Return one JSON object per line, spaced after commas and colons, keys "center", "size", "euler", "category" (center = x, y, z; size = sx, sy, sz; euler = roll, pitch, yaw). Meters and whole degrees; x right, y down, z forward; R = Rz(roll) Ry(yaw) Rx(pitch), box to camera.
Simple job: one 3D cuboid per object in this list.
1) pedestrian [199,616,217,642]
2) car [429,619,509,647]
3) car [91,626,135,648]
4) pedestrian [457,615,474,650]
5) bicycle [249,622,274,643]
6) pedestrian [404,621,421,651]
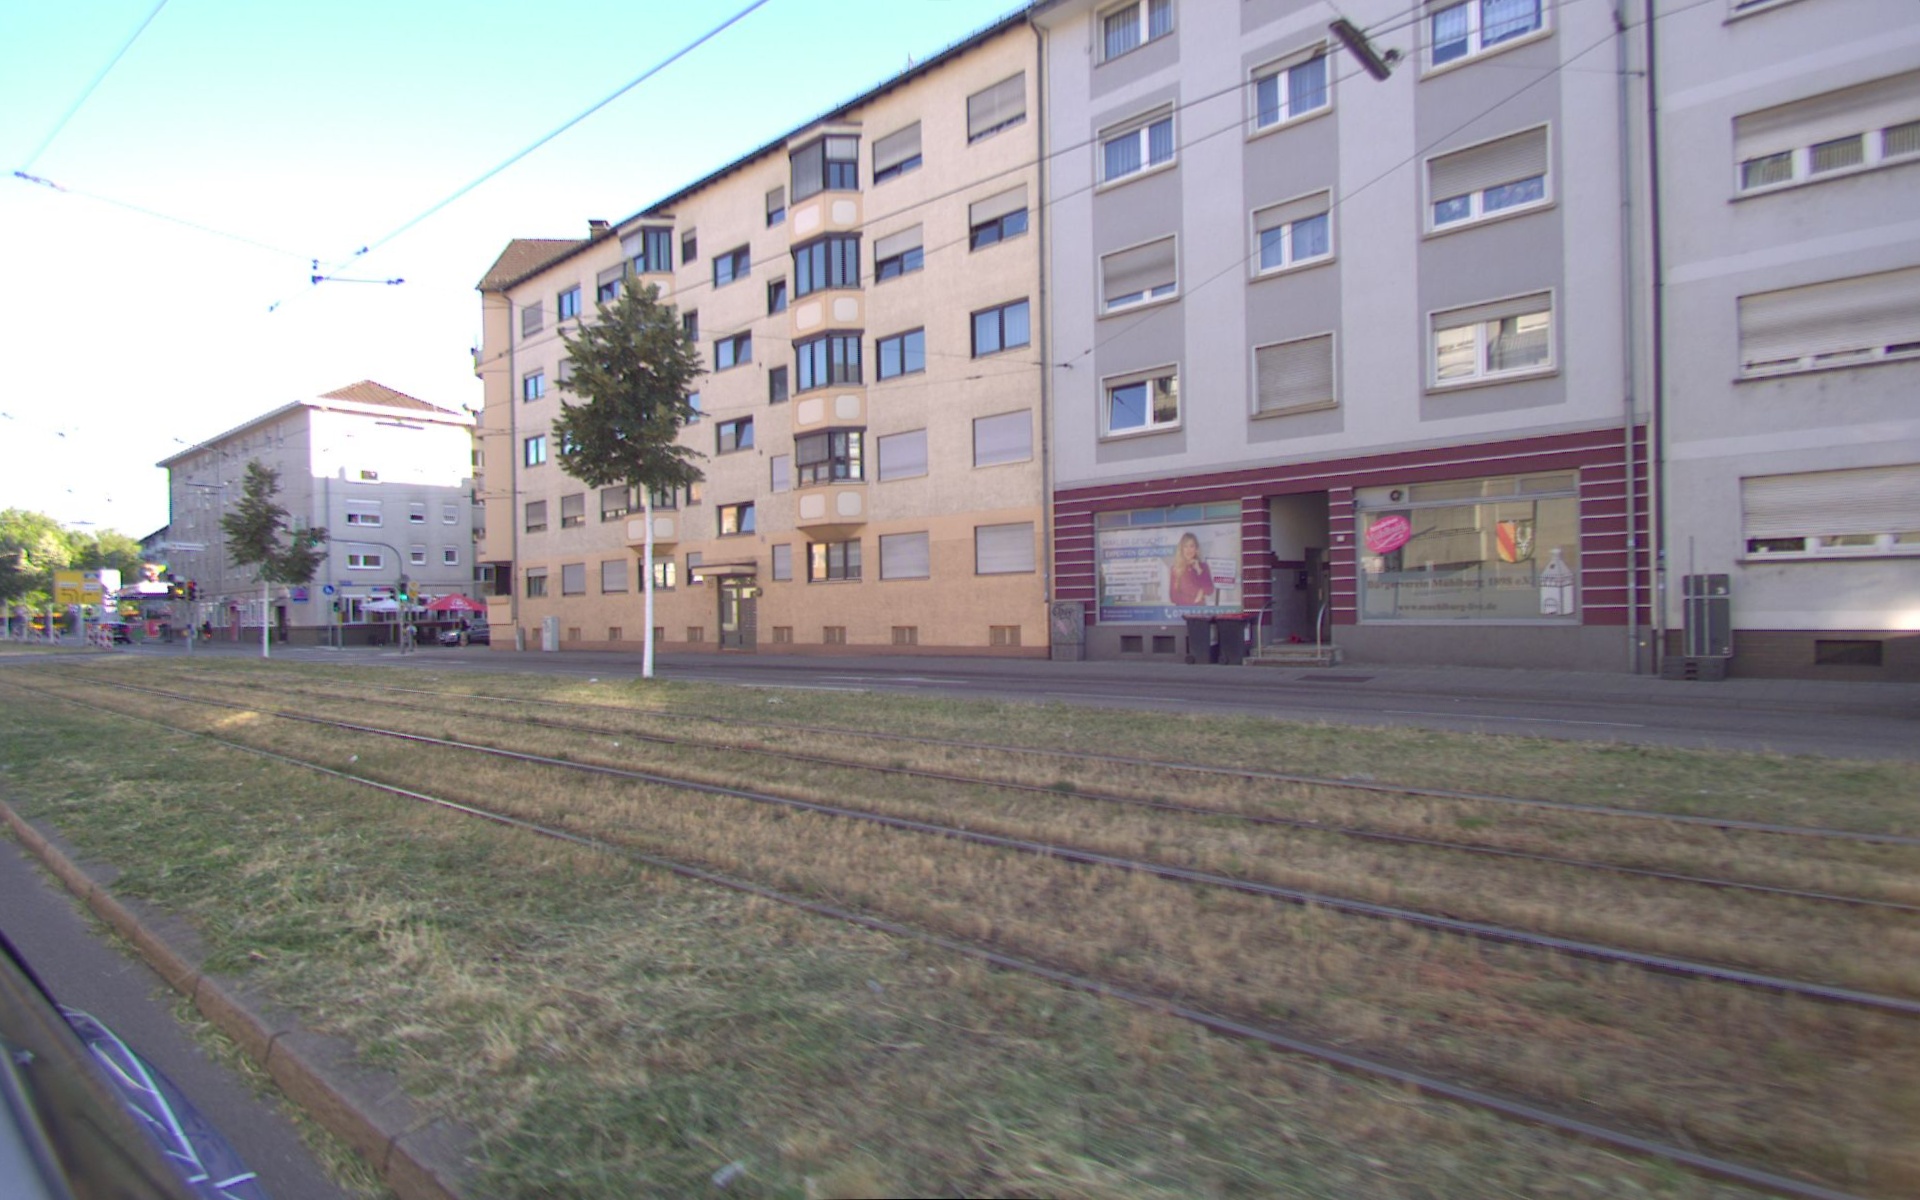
{"center": [-51.709, 1.984, 69.563], "size": [1.225, 1.754, 0.733], "euler": [-2, 0, 40], "category": "pedestrian"}
{"center": [-30.296, 2.017, 62.513], "size": [1.997, 1.519, 3.950], "euler": [-2, 0, 37], "category": "car"}
{"center": [-64.457, 2.796, 76.996], "size": [4.466, 1.603, 1.897], "euler": [-2, -1, 41], "category": "car"}
{"center": [-25.595, 1.687, 52.385], "size": [0.625, 1.784, 0.827], "euler": [-1, 0, -34], "category": "pedestrian"}
{"center": [-47.395, 2.207, 68.633], "size": [3.234, 1.388, 0.572], "euler": [-1, -1, 40], "category": "bicycle"}
{"center": [-28.536, 1.866, 52.751], "size": [0.582, 1.501, 0.616], "euler": [-1, 0, 40], "category": "pedestrian"}
